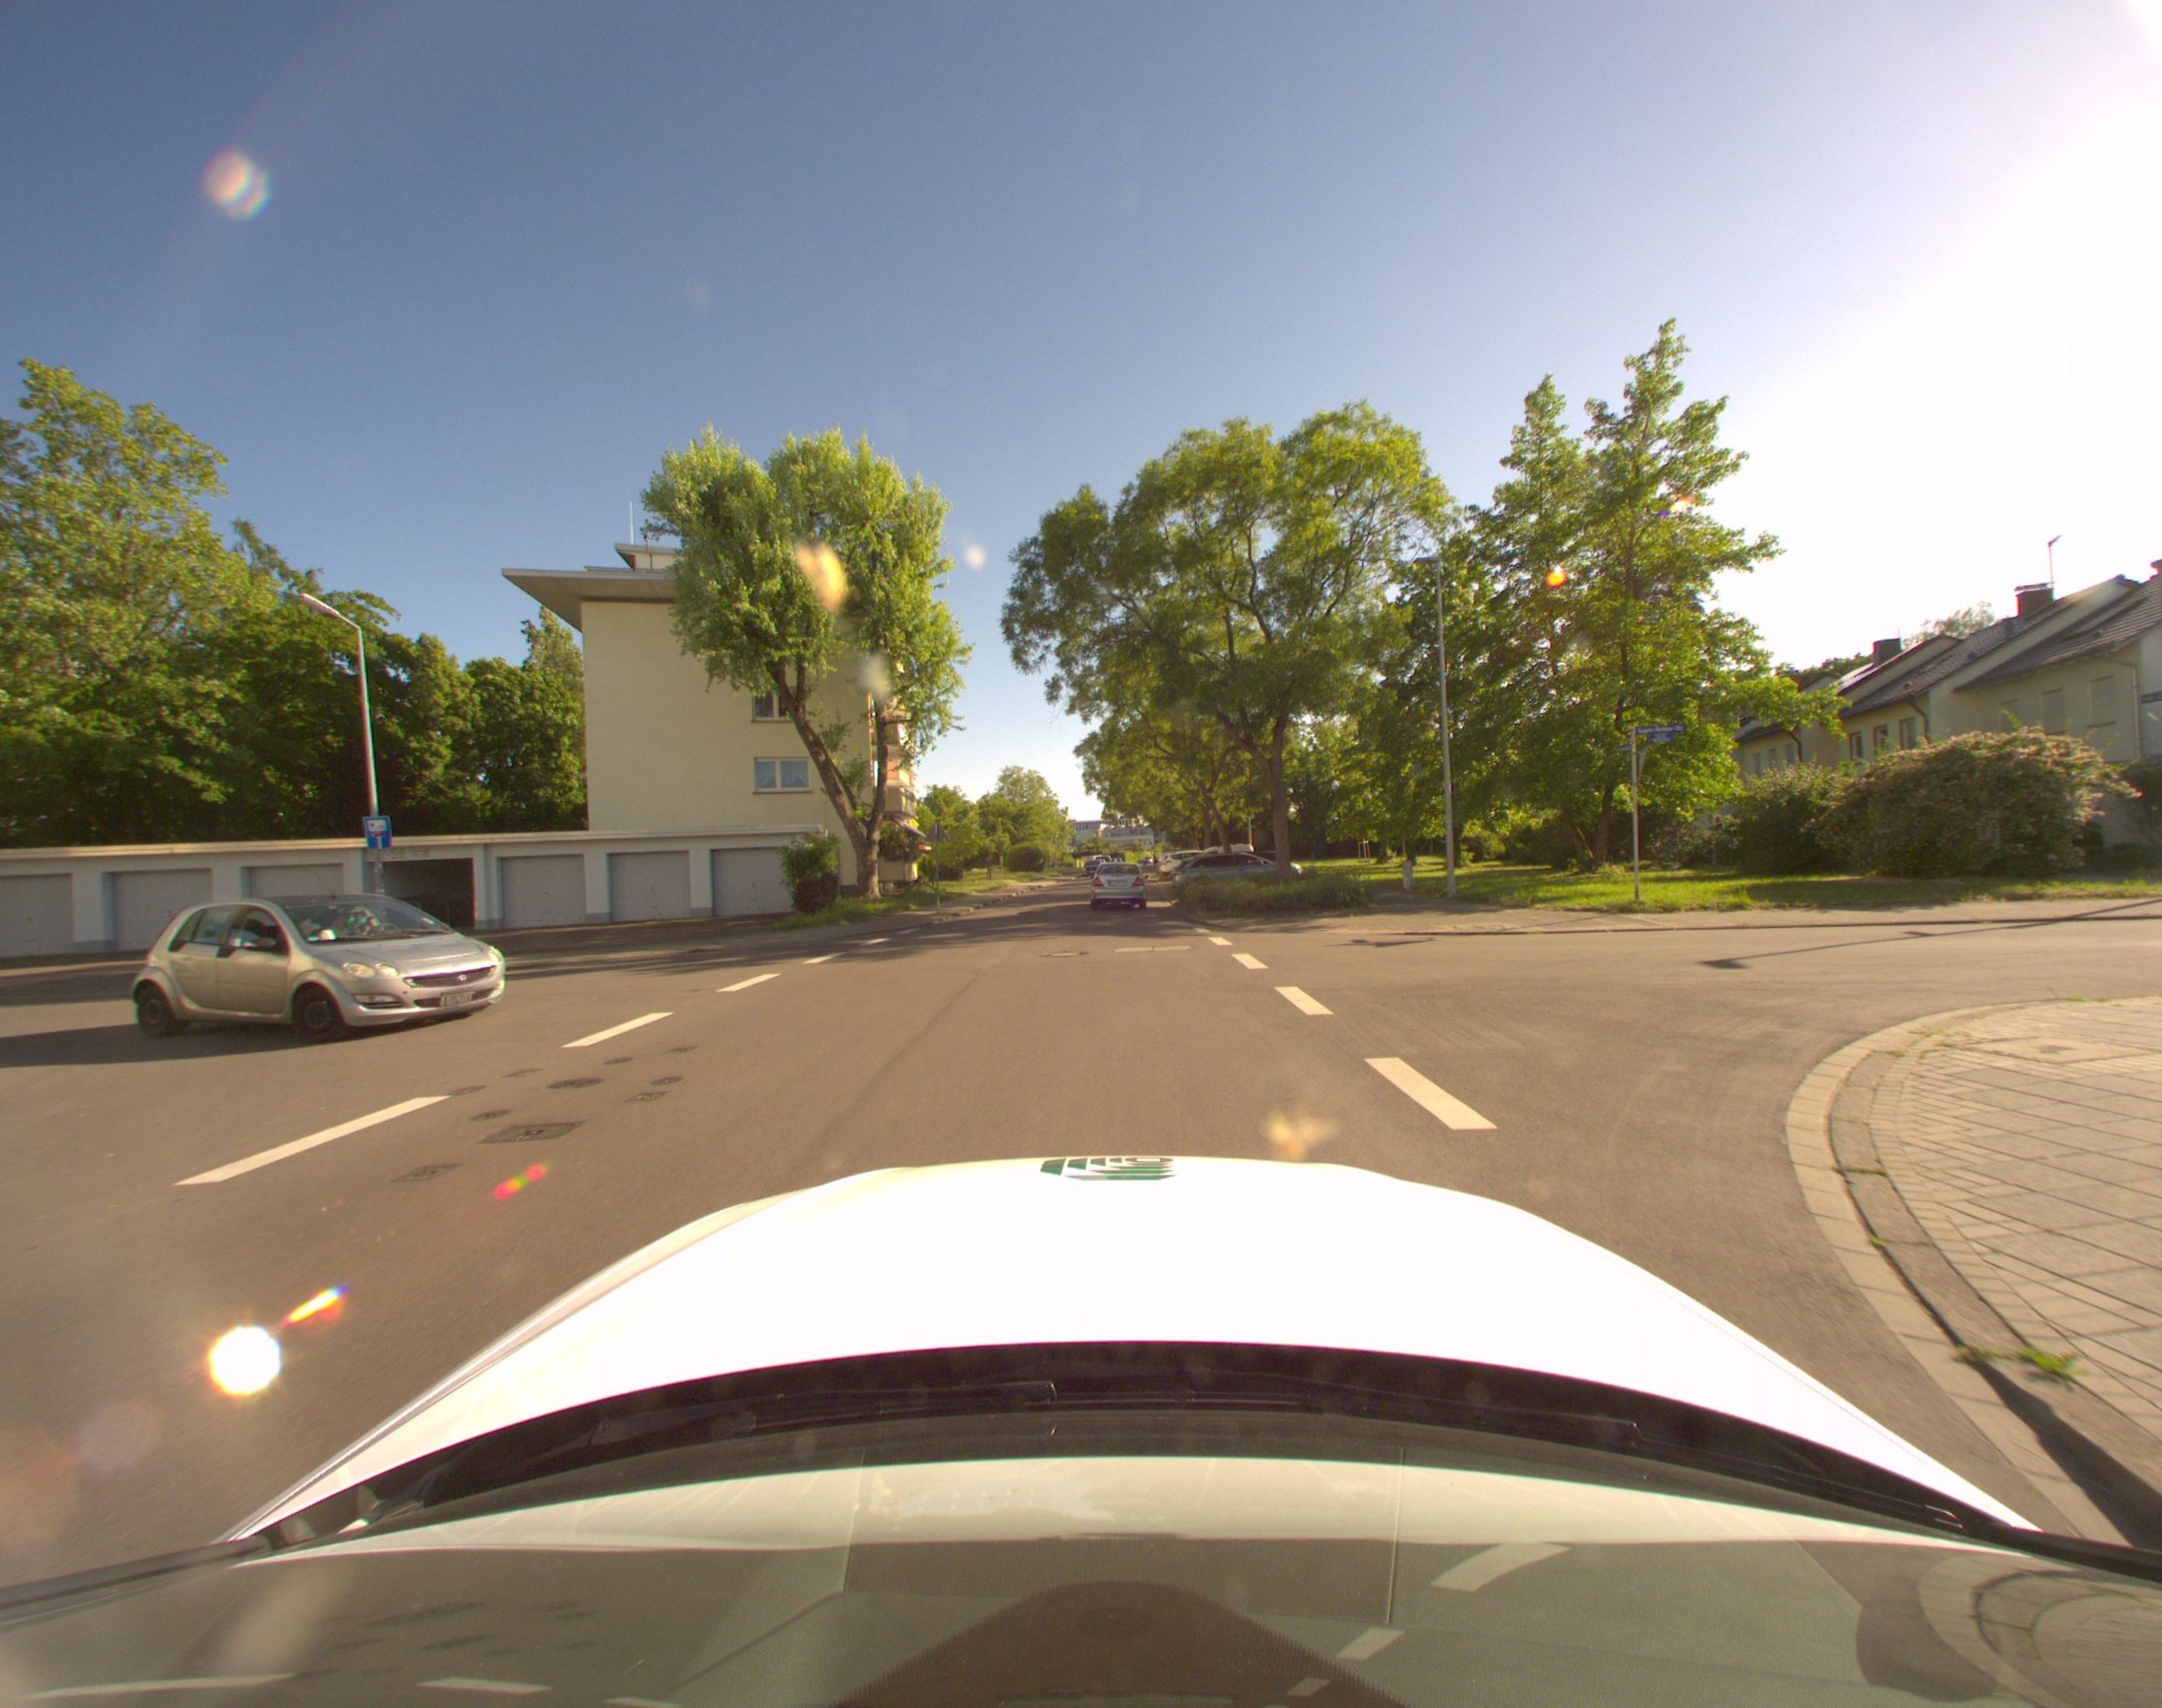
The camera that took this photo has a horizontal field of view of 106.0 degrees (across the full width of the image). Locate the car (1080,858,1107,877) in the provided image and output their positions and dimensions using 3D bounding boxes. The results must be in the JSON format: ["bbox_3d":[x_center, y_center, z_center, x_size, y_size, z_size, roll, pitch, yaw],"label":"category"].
[{"bbox_3d":[1.179,1.180,73.263,1.903,1.490,3.844,-5,-1,7],"label":"car"}]

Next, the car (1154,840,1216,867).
[{"bbox_3d":[8.975,-0.003,70.476,5.191,2.059,2.003,-3,0,6],"label":"car"}]

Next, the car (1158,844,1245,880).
[{"bbox_3d":[7.036,0.455,47.922,4.862,1.723,2.003,-4,-1,4],"label":"car"}]

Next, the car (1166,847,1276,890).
[{"bbox_3d":[6.046,0.625,35.655,4.428,1.517,2.001,-4,0,1],"label":"car"}]

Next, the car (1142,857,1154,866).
[{"bbox_3d":[12.861,1.413,156.314,1.882,1.503,3.667,-3,0,10],"label":"car"}]

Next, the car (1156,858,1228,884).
[{"bbox_3d":[7.860,1.222,58.122,4.867,1.628,2.000,-3,-1,1],"label":"car"}]

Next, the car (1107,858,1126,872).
[{"bbox_3d":[4.305,1.333,98.336,1.740,1.521,4.203,-4,-1,8],"label":"car"}]

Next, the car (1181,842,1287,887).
[{"bbox_3d":[7.671,0.525,41.103,4.873,1.924,1.998,-3,0,-3],"label":"car"}]

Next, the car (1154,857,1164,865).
[{"bbox_3d":[16.626,1.539,173.744,1.882,1.503,3.667,-3,0,10],"label":"car"}]

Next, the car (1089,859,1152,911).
[{"bbox_3d":[1.155,0.916,25.169,1.727,1.434,3.437,-2,-1,0],"label":"car"}]

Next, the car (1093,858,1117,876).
[{"bbox_3d":[2.538,1.343,85.278,1.739,1.688,4.276,-4,-1,10],"label":"car"}]

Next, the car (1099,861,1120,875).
[{"bbox_3d":[3.214,1.553,91.825,1.739,1.330,3.460,-5,-1,10],"label":"car"}]

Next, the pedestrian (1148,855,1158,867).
[{"bbox_3d":[12.960,1.224,146.145,1.563,2.089,1.730,-3,-1,13],"label":"pedestrian"}]

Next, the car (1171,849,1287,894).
[{"bbox_3d":[5.915,0.683,32.887,4.406,1.571,1.740,-3,0,4],"label":"car"}]

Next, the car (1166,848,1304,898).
[{"bbox_3d":[5.677,0.691,30.413,4.764,1.549,2.012,-3,0,1],"label":"car"}]

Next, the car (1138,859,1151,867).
[{"bbox_3d":[11.574,1.624,148.099,1.882,1.503,3.667,-3,0,10],"label":"car"}]

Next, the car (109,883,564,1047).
[{"bbox_3d":[-8.291,1.185,9.196,3.898,1.460,2.007,-3,0,16],"label":"car"}]
